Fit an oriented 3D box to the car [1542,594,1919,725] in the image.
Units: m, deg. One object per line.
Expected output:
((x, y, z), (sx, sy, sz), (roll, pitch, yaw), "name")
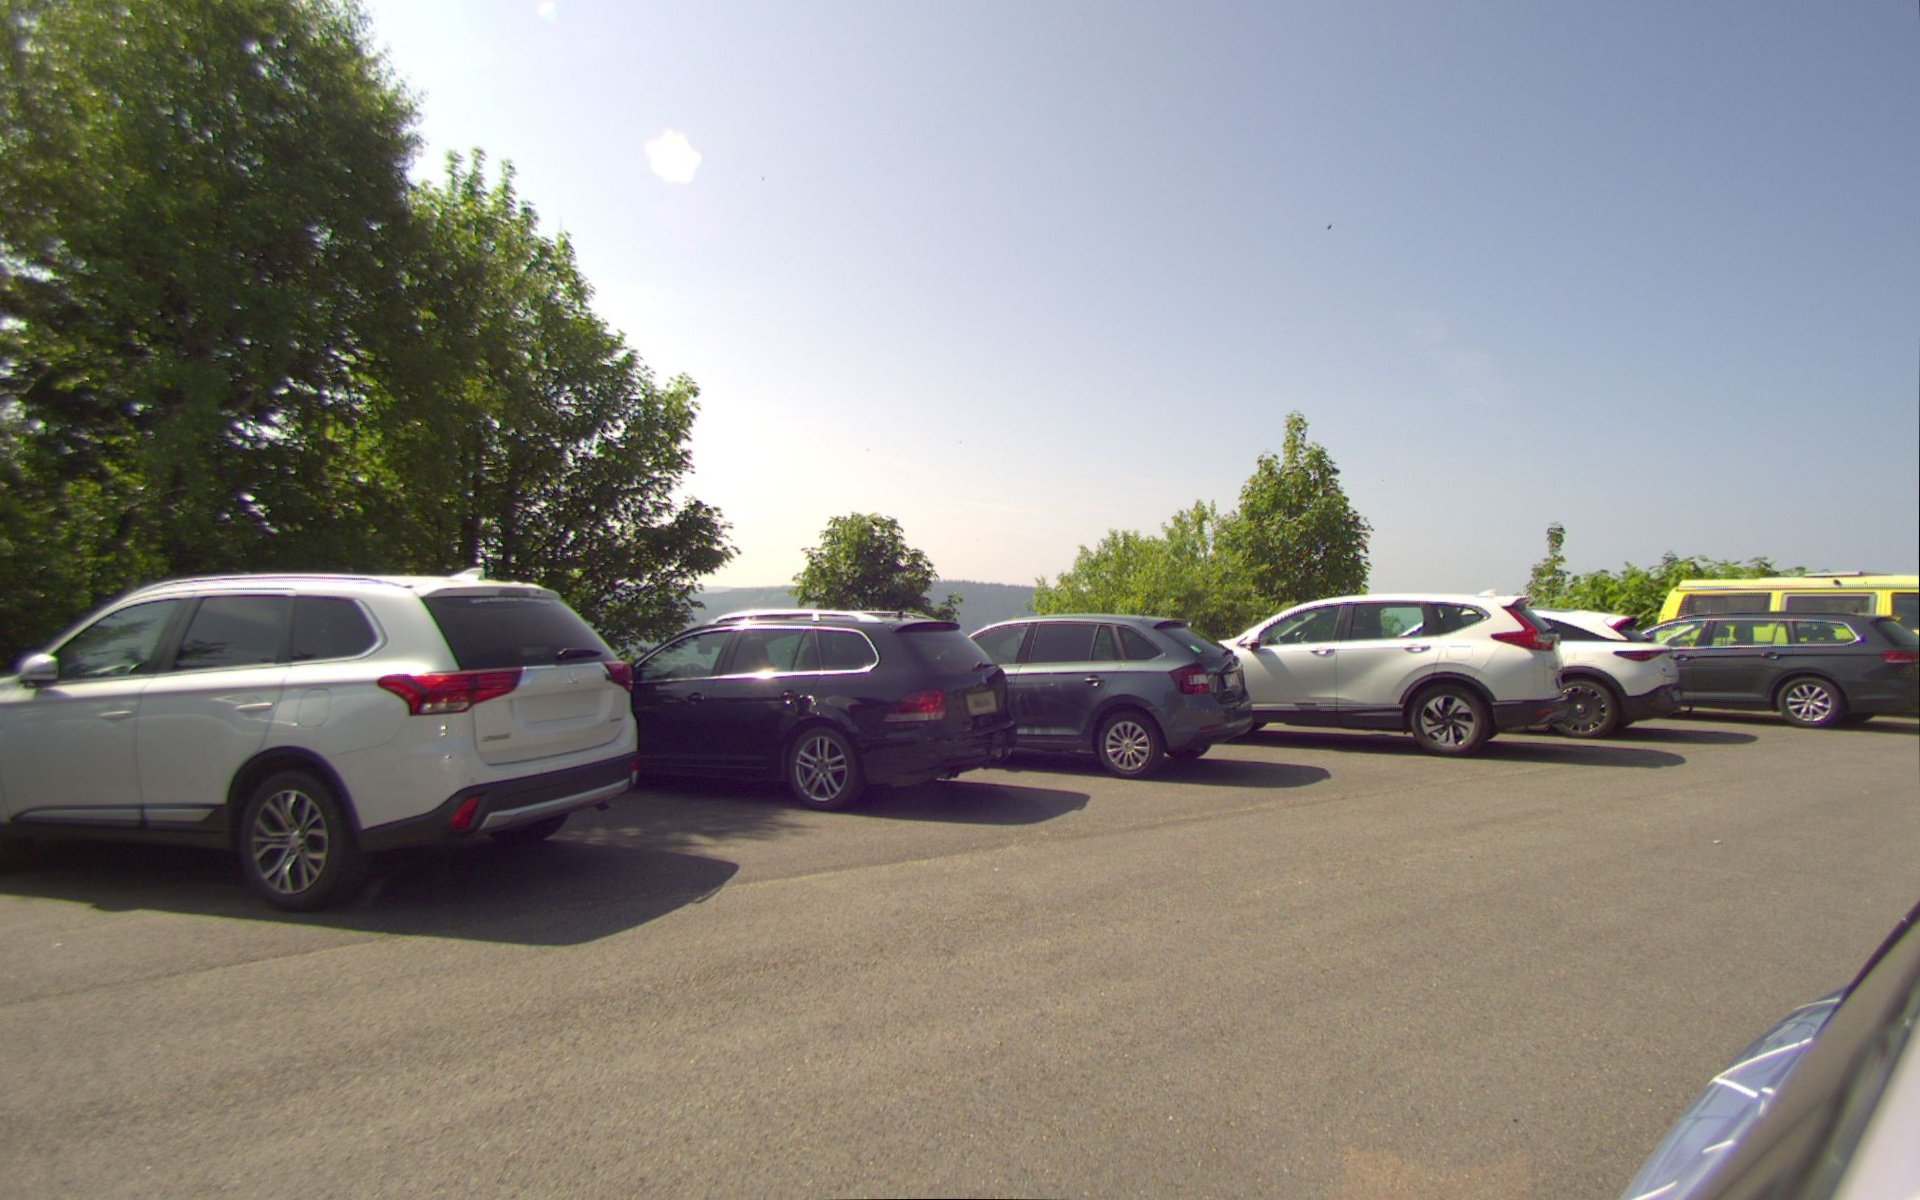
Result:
((10.643, 0.761, 13.782), (1.777, 1.507, 4.364), (2, -3, -33), "car")

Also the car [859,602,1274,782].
((0.985, 0.815, 10.046), (3.777, 1.478, 1.643), (-2, -2, 33), "car")

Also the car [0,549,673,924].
((-4.067, 0.660, 6.165), (4.169, 1.716, 1.853), (-1, -1, 18), "car")

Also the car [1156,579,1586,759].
((4.525, 0.705, 11.394), (4.157, 1.671, 1.868), (-2, -2, 35), "car")

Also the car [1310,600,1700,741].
((6.873, 0.769, 13.022), (4.084, 1.519, 1.914), (-1, 0, 43), "car")

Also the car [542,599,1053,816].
((-1.419, 0.797, 8.693), (4.011, 1.480, 1.877), (-2, -2, 27), "car")

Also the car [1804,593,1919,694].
((16.406, 0.705, 16.184), (1.671, 1.609, 4.167), (1, -1, -32), "car")

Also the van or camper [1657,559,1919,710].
((13.470, 0.503, 14.764), (1.844, 2.040, 5.109), (2, -3, -31), "van or camper")
